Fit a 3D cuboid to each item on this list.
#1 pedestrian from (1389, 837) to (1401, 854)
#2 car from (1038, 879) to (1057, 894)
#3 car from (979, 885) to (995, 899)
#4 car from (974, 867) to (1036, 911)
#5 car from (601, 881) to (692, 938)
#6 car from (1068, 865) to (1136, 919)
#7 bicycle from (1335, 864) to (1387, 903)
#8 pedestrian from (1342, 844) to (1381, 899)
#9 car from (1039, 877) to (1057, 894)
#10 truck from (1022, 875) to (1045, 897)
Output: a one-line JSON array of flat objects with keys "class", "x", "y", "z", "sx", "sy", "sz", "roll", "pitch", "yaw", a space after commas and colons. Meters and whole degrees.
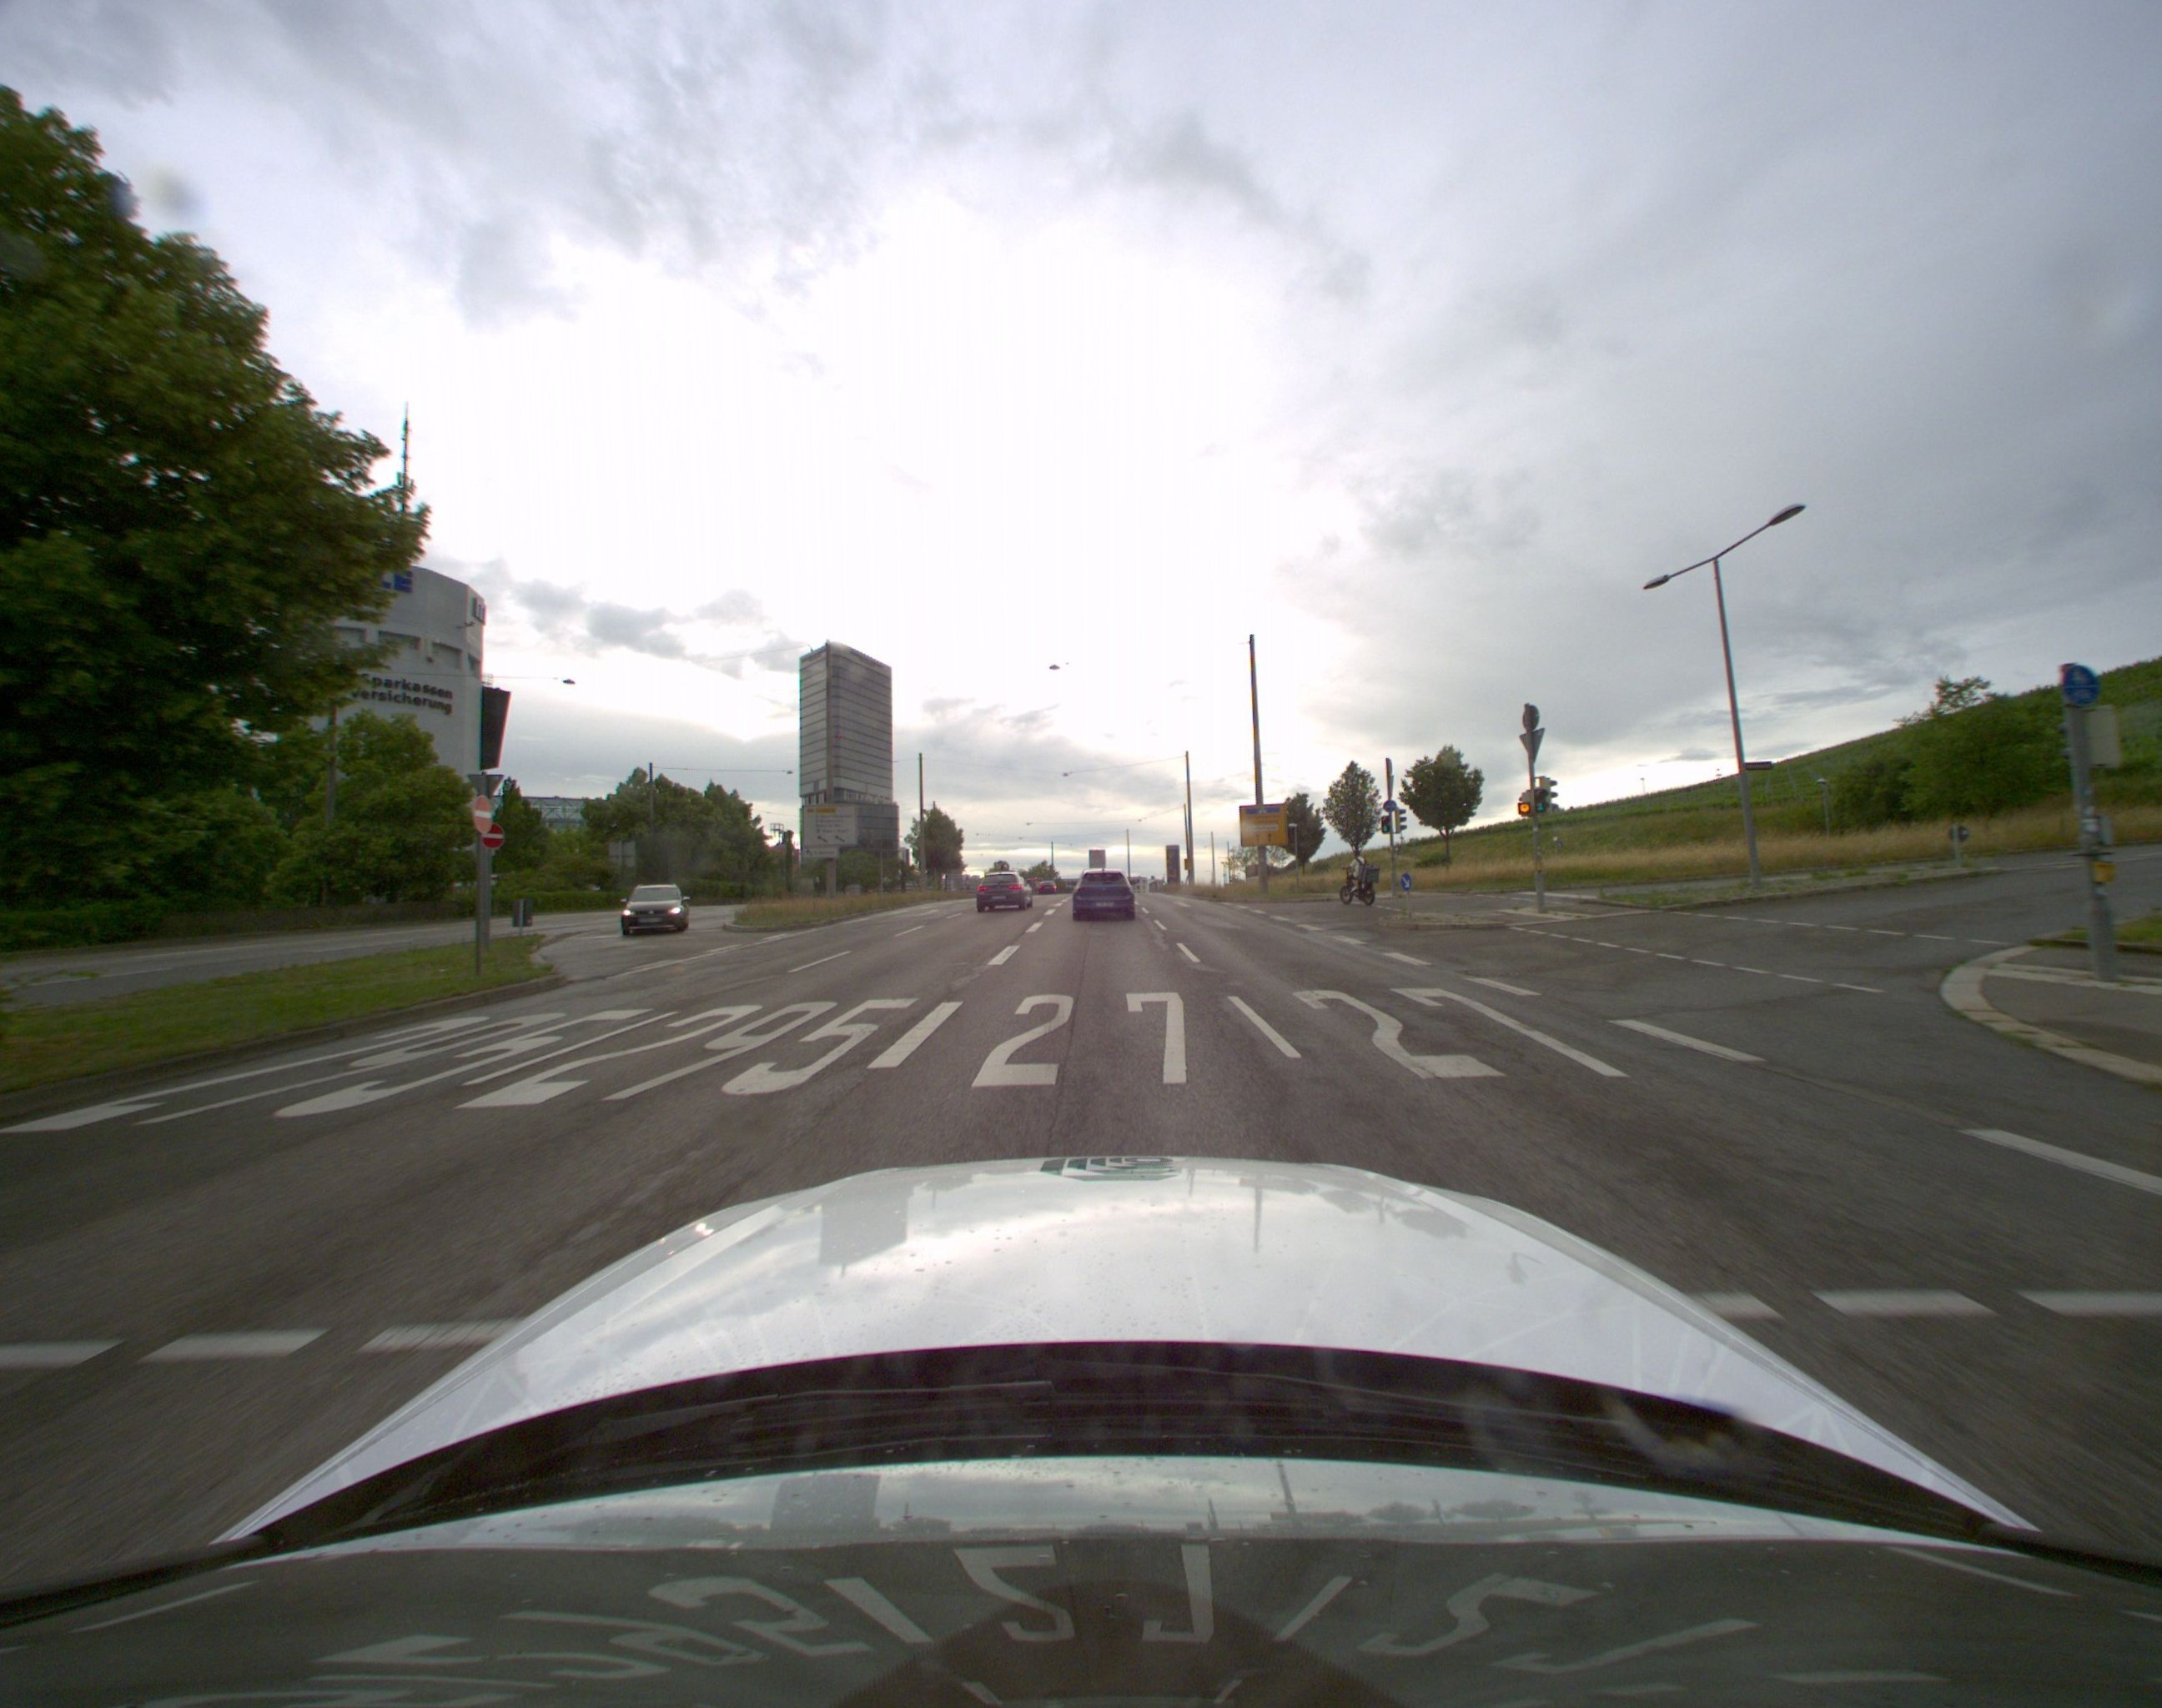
[{"class": "pedestrian", "x": 38.584, "y": -1.071, "z": 100.028, "sx": 0.784, "sy": 2.013, "sz": 1.044, "roll": -3, "pitch": -1, "yaw": -31}, {"class": "car", "x": -3.534, "y": 3.430, "z": 86.783, "sx": 1.714, "sy": 1.541, "sz": 3.707, "roll": 0, "pitch": 0, "yaw": 3}, {"class": "car", "x": -15.335, "y": 6.237, "z": 132.877, "sx": 1.996, "sy": 2.013, "sz": 3.981, "roll": -4, "pitch": -1, "yaw": -13}, {"class": "car", "x": -2.781, "y": 1.267, "z": 30.755, "sx": 1.862, "sy": 1.461, "sz": 3.976, "roll": -2, "pitch": 0, "yaw": 1}, {"class": "car", "x": -13.253, "y": 1.627, "z": 25.062, "sx": 1.896, "sy": 1.507, "sz": 3.972, "roll": -2, "pitch": -1, "yaw": -21}, {"class": "car", "x": 0.668, "y": 1.074, "z": 24.174, "sx": 1.830, "sy": 1.393, "sz": 4.002, "roll": -1, "pitch": 0, "yaw": 2}, {"class": "bicycle", "x": 8.512, "y": 0.880, "z": 24.869, "sx": 0.633, "sy": 1.105, "sz": 1.747, "roll": -6, "pitch": 0, "yaw": -11}, {"class": "pedestrian", "x": 8.509, "y": 0.522, "z": 24.700, "sx": 0.633, "sy": 1.570, "sz": 0.892, "roll": -6, "pitch": 0, "yaw": -11}, {"class": "car", "x": -4.299, "y": 4.164, "z": 105.785, "sx": 1.902, "sy": 1.973, "sz": 5.080, "roll": -3, "pitch": -3, "yaw": -6}, {"class": "truck", "x": -7.213, "y": 4.882, "z": 122.196, "sx": 2.666, "sy": 3.220, "sz": 6.525, "roll": -1, "pitch": -3, "yaw": -10}]
